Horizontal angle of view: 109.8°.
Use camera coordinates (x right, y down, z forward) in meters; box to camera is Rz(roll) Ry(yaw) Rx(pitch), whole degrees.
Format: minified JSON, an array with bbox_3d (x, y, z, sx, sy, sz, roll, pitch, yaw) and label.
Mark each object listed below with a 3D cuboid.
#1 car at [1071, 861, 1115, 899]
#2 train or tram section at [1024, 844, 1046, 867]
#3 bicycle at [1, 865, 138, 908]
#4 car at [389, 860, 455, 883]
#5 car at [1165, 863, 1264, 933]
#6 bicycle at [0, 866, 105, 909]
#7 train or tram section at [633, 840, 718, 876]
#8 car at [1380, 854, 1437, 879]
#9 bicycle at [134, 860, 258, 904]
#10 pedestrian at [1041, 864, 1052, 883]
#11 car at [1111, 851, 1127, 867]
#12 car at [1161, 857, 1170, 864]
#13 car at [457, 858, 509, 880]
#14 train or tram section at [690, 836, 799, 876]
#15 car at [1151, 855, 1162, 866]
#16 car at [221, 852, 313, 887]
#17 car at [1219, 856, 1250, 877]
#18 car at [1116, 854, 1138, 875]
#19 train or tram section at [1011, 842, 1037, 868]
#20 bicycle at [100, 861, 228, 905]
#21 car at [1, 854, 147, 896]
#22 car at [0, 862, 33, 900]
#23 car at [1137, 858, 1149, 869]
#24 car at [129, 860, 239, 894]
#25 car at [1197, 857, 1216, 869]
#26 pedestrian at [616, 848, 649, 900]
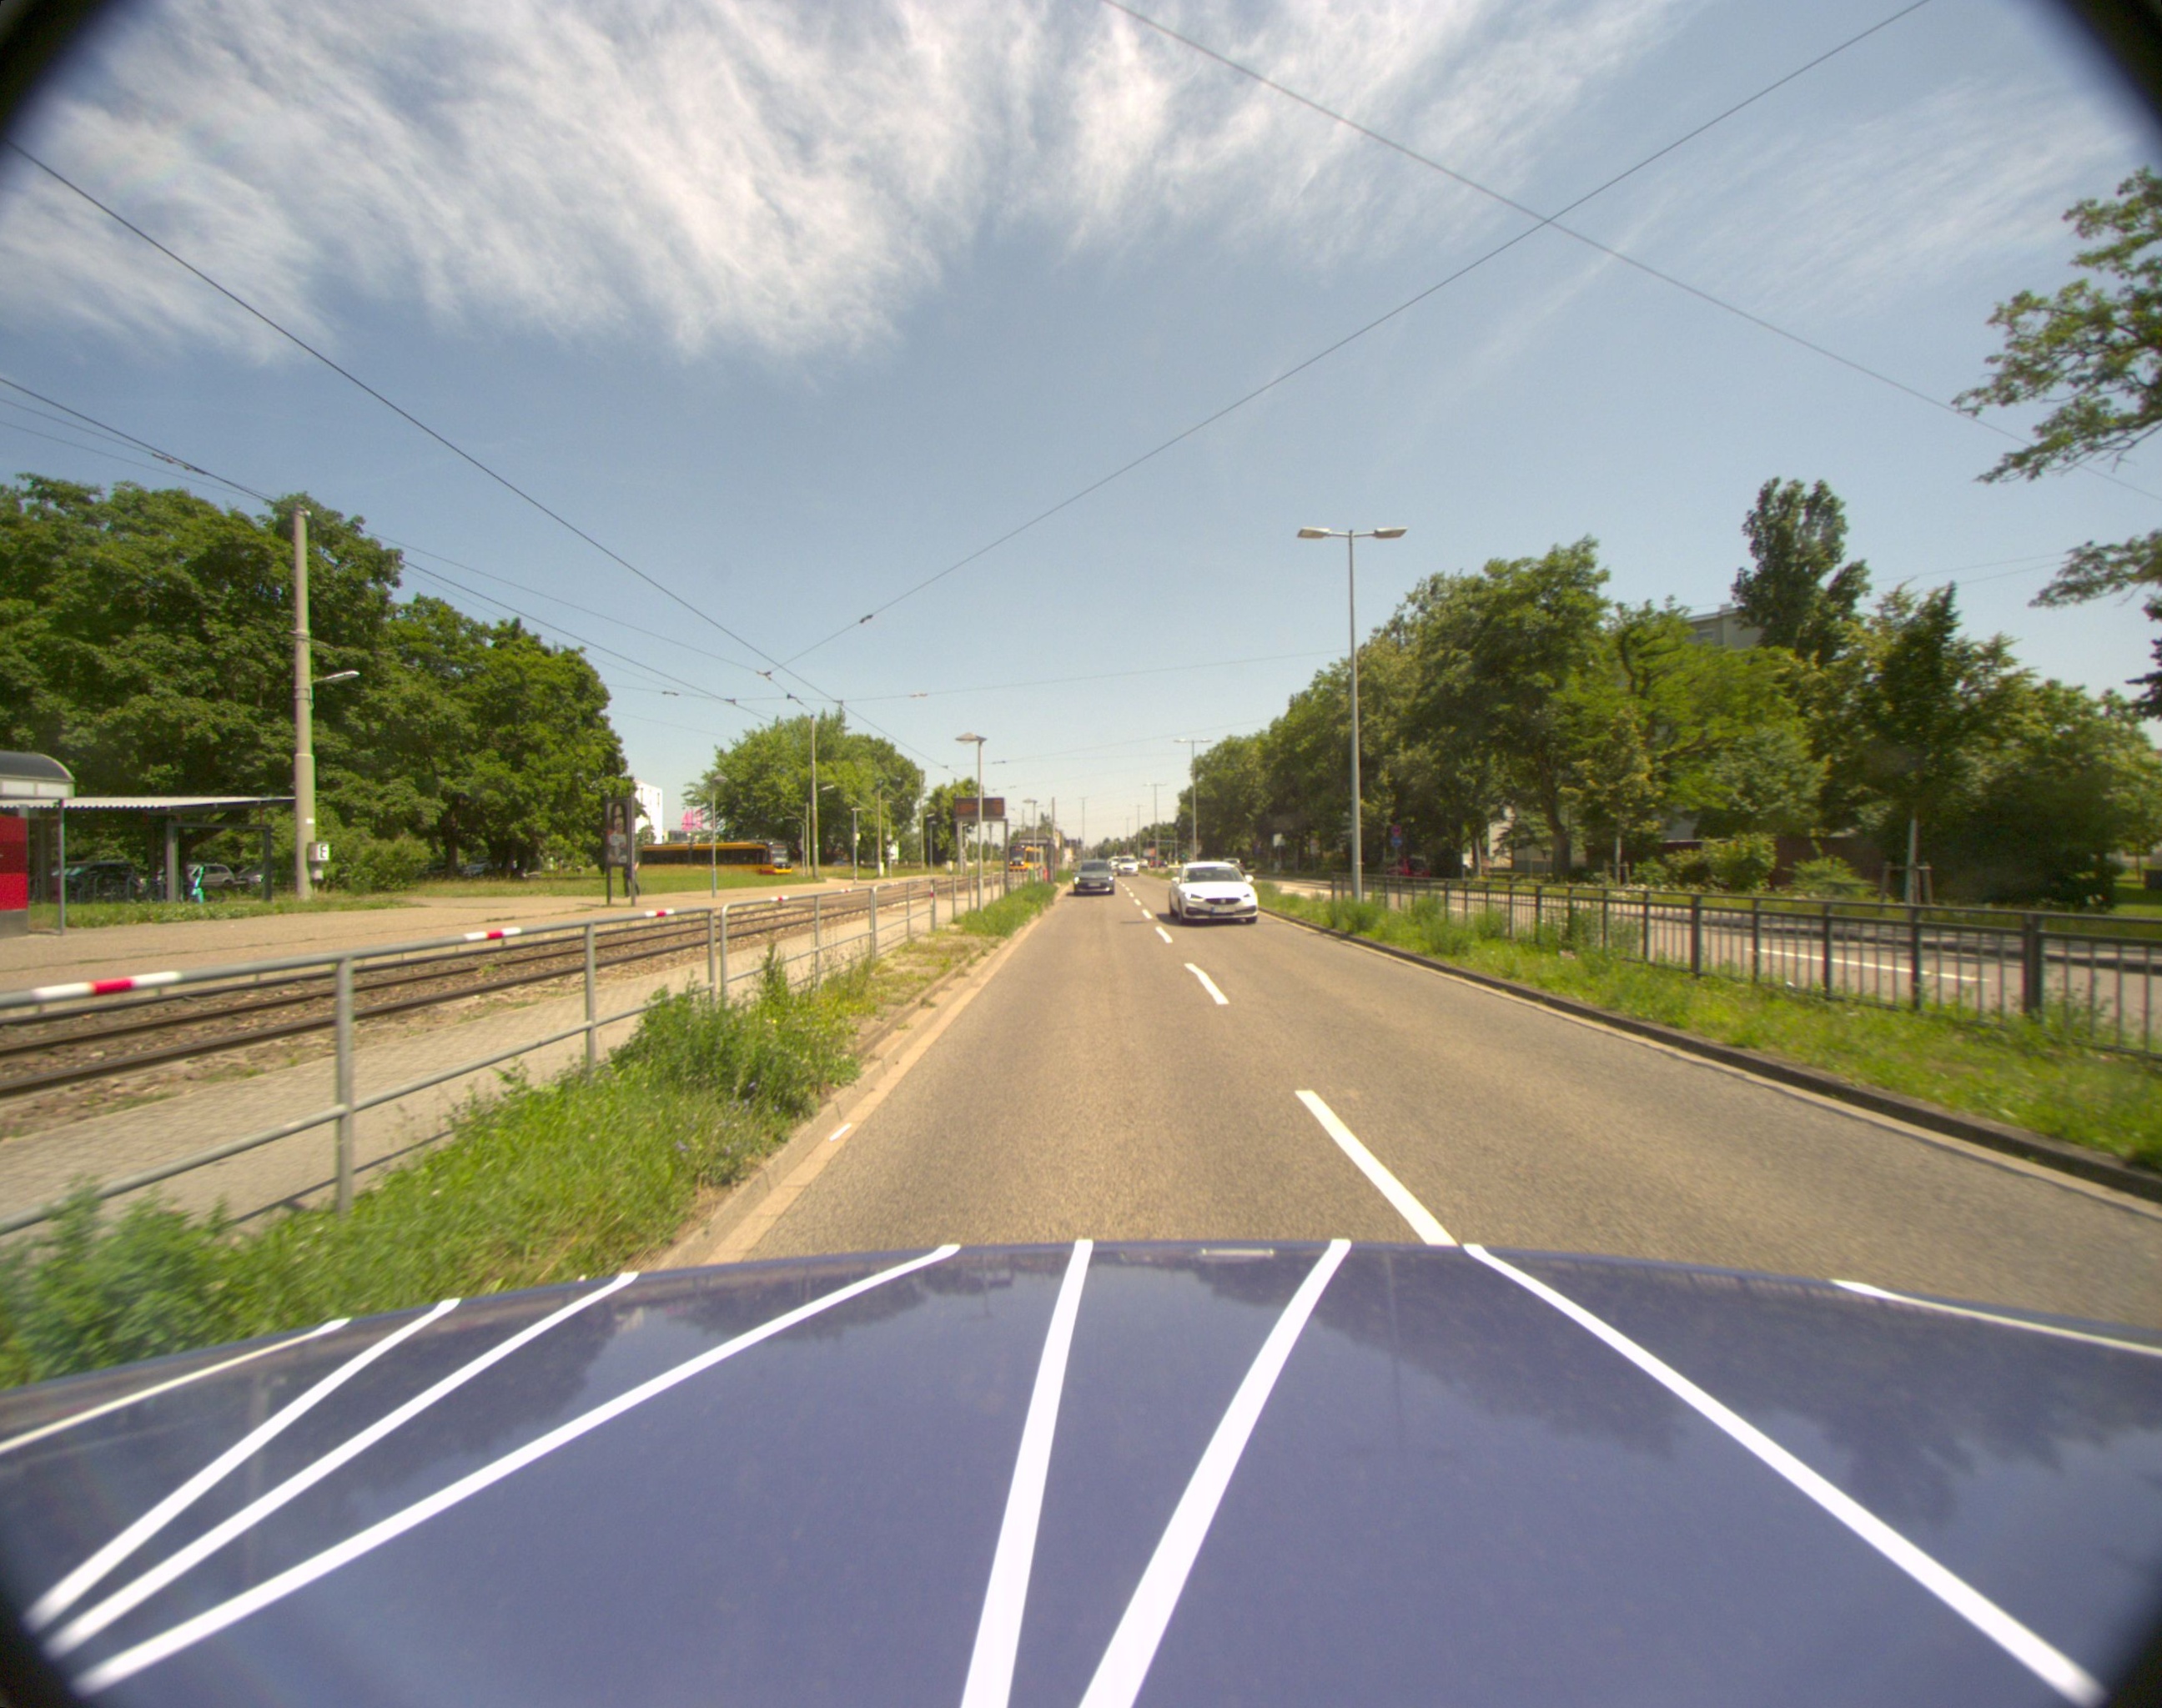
[{"bbox_3d":[0.583,1.075,33.410,1.787,1.554,4.136,0,0,3],"label":"car"},{"bbox_3d":[-6.847,0.230,114.046,2.524,3.303,7.261,0,0,2],"label":"train or tram section"},{"bbox_3d":[-26.512,0.851,19.992,0.599,1.080,2.192,0,-2,2],"label":"bicycle"},{"bbox_3d":[-42.297,1.110,48.883,1.960,1.414,3.938,0,0,-21],"label":"car"},{"bbox_3d":[3.186,1.004,18.888,1.772,1.460,4.112,-2,0,1],"label":"car"},{"bbox_3d":[-27.676,0.887,20.172,0.599,1.080,2.192,0,-2,2],"label":"bicycle"},{"bbox_3d":[-44.202,0.471,82.501,13.214,3.628,2.721,-1,1,37],"label":"train or tram section"},{"bbox_3d":[21.112,0.783,49.160,1.998,1.575,4.000,0,0,1],"label":"car"},{"bbox_3d":[-22.981,0.731,19.809,0.599,1.080,2.192,0,-2,2],"label":"bicycle"},{"bbox_3d":[-1.891,1.061,41.696,0.576,1.034,0.579,0,0,2],"label":"pedestrian"},{"bbox_3d":[4.762,0.677,96.845,1.921,2.002,4.000,0,0,1],"label":"car"},{"bbox_3d":[18.149,1.466,163.077,1.744,1.499,4.636,0,0,3],"label":"car"},{"bbox_3d":[-44.288,1.085,56.392,1.707,1.530,4.606,0,0,-21],"label":"car"},{"bbox_3d":[-33.492,0.293,75.202,13.150,3.628,2.720,-1,1,31],"label":"train or tram section"},{"bbox_3d":[14.039,1.253,141.569,1.998,2.002,4.001,0,0,4],"label":"car"},{"bbox_3d":[-48.543,0.898,45.462,2.001,2.002,3.994,0,0,-17],"label":"car"},{"bbox_3d":[13.820,1.078,68.605,1.864,1.748,4.480,2,0,0],"label":"car"},{"bbox_3d":[4.403,0.978,72.452,1.998,2.002,4.001,0,0,3],"label":"car"},{"bbox_3d":[-7.427,0.159,99.482,2.524,3.303,7.261,0,0,2],"label":"train or tram section"},{"bbox_3d":[-23.857,0.765,19.840,0.599,1.080,2.192,0,-2,2],"label":"bicycle"},{"bbox_3d":[-44.711,0.873,33.887,2.002,1.760,3.993,0,0,-19],"label":"car"},{"bbox_3d":[-43.026,1.056,28.780,1.889,1.502,3.994,0,0,-18],"label":"car"},{"bbox_3d":[10.587,1.580,129.747,1.815,1.631,4.000,-2,1,2],"label":"car"},{"bbox_3d":[-46.737,1.149,39.725,1.855,1.652,3.994,0,0,-17],"label":"car"},{"bbox_3d":[16.355,1.110,98.985,1.772,1.545,4.083,0,0,0],"label":"car"},{"bbox_3d":[-15.205,0.670,25.747,0.707,1.754,0.658,0,0,3],"label":"pedestrian"}]
